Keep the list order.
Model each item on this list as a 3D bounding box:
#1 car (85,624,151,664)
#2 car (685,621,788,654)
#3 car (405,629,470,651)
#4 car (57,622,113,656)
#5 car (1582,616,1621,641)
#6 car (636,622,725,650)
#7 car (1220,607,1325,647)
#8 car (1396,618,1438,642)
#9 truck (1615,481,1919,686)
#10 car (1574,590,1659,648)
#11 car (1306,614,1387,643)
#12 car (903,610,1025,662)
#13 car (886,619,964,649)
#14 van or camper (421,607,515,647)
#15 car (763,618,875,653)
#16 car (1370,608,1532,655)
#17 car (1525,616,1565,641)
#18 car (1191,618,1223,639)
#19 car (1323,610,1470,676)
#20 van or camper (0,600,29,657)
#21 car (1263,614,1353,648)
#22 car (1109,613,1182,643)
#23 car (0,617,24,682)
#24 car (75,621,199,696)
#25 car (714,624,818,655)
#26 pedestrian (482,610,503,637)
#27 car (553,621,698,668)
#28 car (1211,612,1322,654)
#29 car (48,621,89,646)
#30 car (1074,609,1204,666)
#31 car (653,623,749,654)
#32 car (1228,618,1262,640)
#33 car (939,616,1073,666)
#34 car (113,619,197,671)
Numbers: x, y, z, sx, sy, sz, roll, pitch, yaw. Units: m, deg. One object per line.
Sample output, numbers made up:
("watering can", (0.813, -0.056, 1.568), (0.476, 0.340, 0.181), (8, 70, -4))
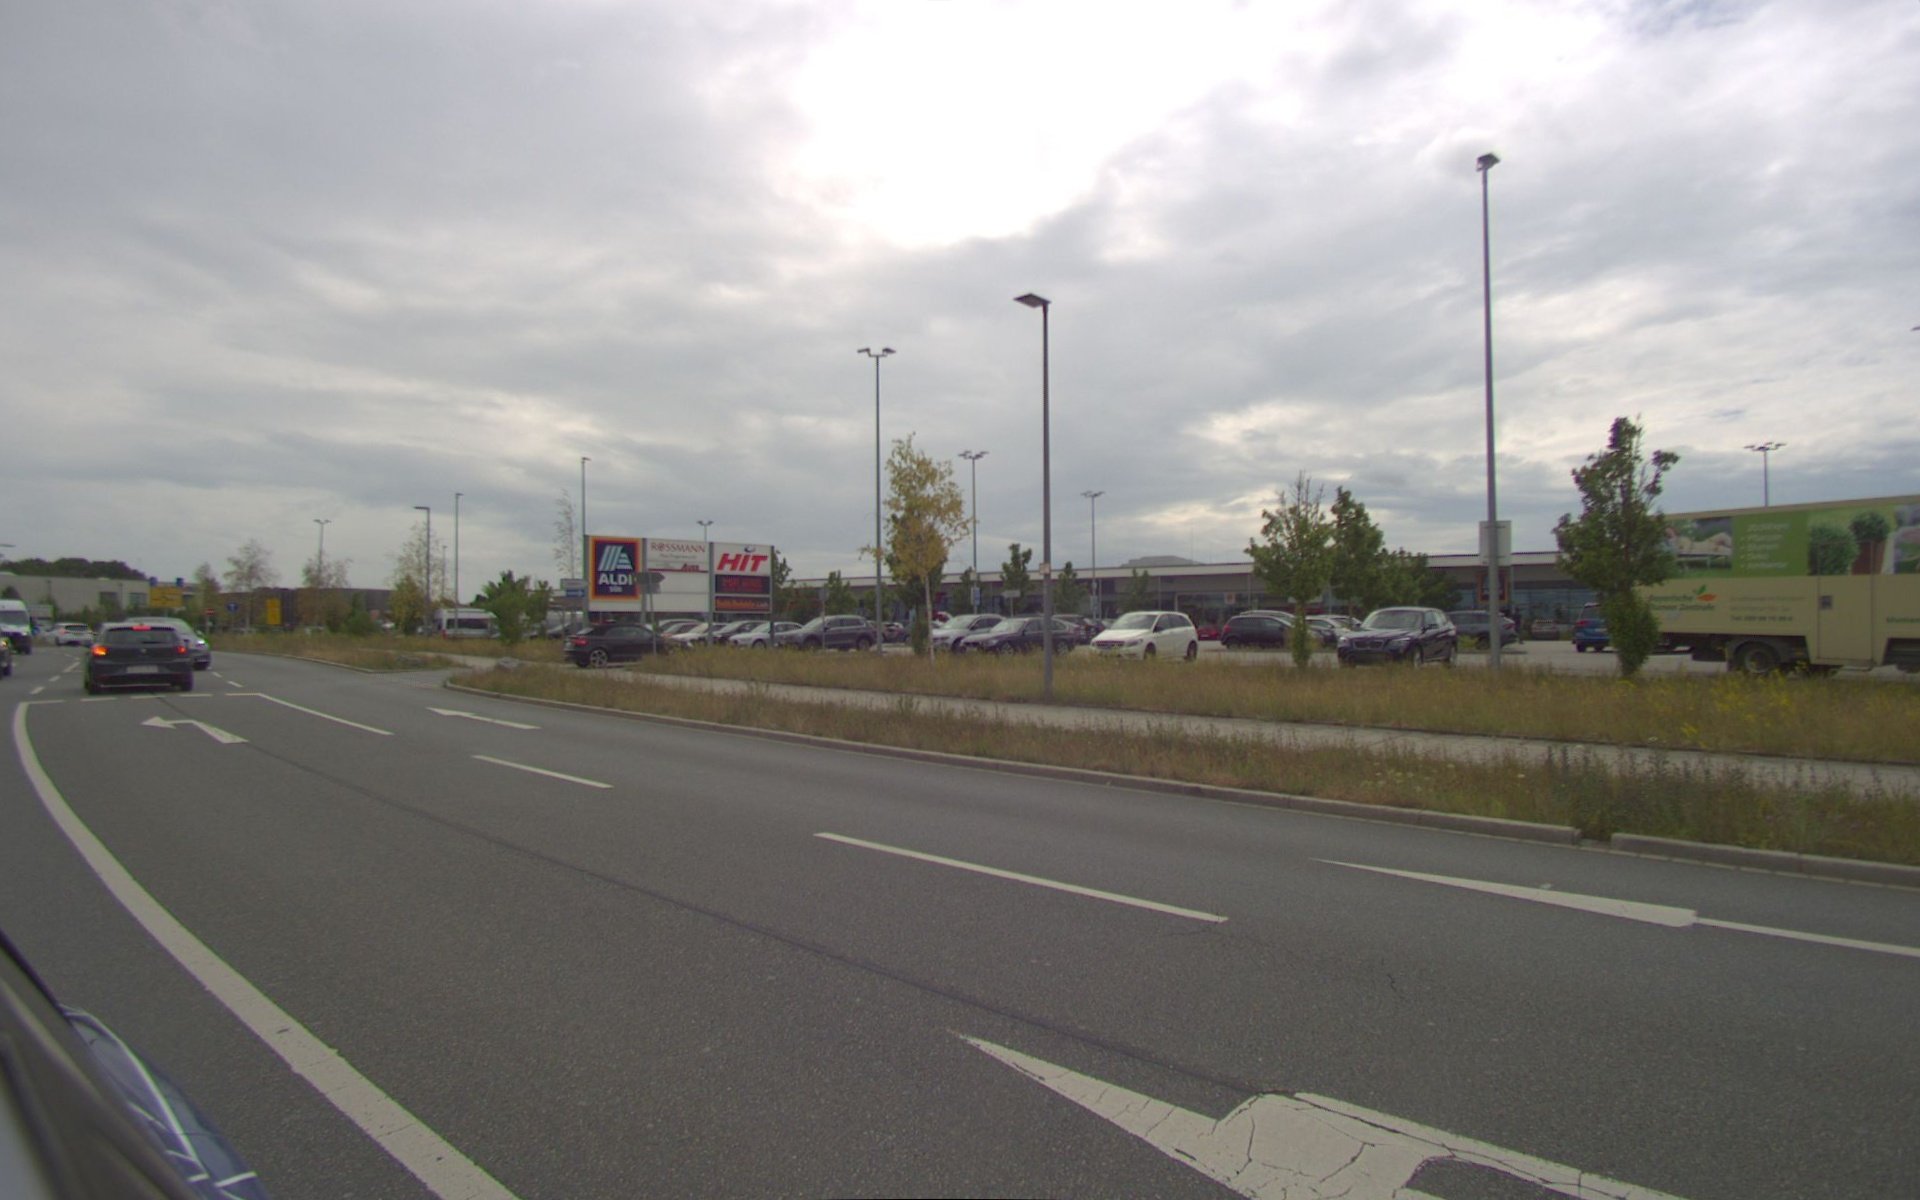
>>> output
("car", (-32.837, 1.661, 39.440), (1.856, 1.480, 4.199), (2, -2, -41))
("car", (-10.683, 1.786, 48.568), (4.311, 1.517, 2.243), (1, -3, -41))
("car", (-39.774, 3.026, 77.139), (2.084, 1.646, 3.902), (-2, -3, 41))
("car", (-39.725, 1.774, 45.898), (1.682, 1.449, 4.035), (2, -3, -44))
("car", (42.023, 1.866, 66.253), (1.995, 1.619, 3.953), (-1, -2, 34))
("car", (-14.573, 1.863, 52.898), (4.033, 1.402, 2.003), (1, -3, -40))
("car", (13.231, 1.152, 42.851), (3.979, 1.619, 1.837), (-1, -2, 27))
("car", (31.696, 2.059, 70.091), (1.995, 1.619, 3.953), (-1, -2, 34))
("truck", (17.555, -0.269, 19.132), (2.809, 3.568, 8.457), (0, -1, -23))
("car", (21.926, 0.670, 33.751), (1.976, 1.785, 3.948), (-2, -3, 38))
("car", (22.619, 1.688, 59.230), (4.271, 1.619, 1.982), (-1, -2, 27))
("car", (0.183, 1.257, 36.046), (2.029, 1.736, 4.194), (-2, -2, 44))
("car", (-1.966, 1.914, 56.862), (3.982, 1.619, 1.981), (-1, -2, 28))
("van or camper", (-36.017, 2.006, 74.301), (2.241, 2.821, 5.794), (-1, -2, 39))
("car", (-6.018, 1.523, 43.422), (4.303, 1.402, 2.169), (1, -3, -40))
("car", (18.108, 1.192, 37.551), (5.245, 1.619, 1.982), (-1, -2, 27))
("car", (39.401, 1.934, 68.116), (1.995, 1.619, 3.953), (-1, -2, 34))
("car", (19.359, 2.240, 79.247), (1.850, 1.619, 3.968), (-1, -2, 23))
("car", (10.641, 1.025, 24.525), (1.997, 1.446, 4.186), (-2, -3, 42))
("van or camper", (-46.415, 1.388, 48.564), (5.699, 2.636, 2.233), (-2, -3, 45))
("car", (17.228, 1.531, 50.089), (3.979, 1.619, 1.982), (-1, -2, 27))
("car", (11.606, 1.743, 63.392), (4.144, 1.830, 1.750), (-1, -2, 33))
("car", (-26.199, 1.308, 26.495), (1.967, 1.677, 4.010), (0, -1, -35))
("car", (-17.729, 1.195, 21.734), (1.807, 1.431, 4.250), (1, -2, -43))
("car", (-8.835, 1.771, 46.256), (4.263, 1.350, 2.028), (2, -3, -45))
("pedestrian", (-34.001, 1.734, 73.652), (1.113, 1.904, 0.997), (-2, -3, 41))
("car", (-10.924, 1.422, 33.201), (4.163, 1.449, 1.778), (1, -2, -39))
("car", (12.270, 1.332, 40.502), (3.979, 1.619, 1.982), (-1, -2, 27))
("car", (-61.663, 2.346, 70.020), (1.969, 1.649, 4.709), (4, -4, -41))
("car", (5.367, 1.104, 29.995), (1.987, 1.571, 4.205), (-2, -3, 39))
("car", (-13.000, 1.930, 50.967), (4.266, 1.468, 2.013), (1, -3, -43))
("car", (21.845, 2.251, 77.421), (1.987, 1.619, 3.968), (-1, -2, 23))
("car", (1.576, 1.318, 33.690), (4.190, 1.525, 2.049), (0, -2, -41))
("car", (-26.342, 1.441, 33.066), (1.969, 1.573, 4.619), (1, -3, -40))
